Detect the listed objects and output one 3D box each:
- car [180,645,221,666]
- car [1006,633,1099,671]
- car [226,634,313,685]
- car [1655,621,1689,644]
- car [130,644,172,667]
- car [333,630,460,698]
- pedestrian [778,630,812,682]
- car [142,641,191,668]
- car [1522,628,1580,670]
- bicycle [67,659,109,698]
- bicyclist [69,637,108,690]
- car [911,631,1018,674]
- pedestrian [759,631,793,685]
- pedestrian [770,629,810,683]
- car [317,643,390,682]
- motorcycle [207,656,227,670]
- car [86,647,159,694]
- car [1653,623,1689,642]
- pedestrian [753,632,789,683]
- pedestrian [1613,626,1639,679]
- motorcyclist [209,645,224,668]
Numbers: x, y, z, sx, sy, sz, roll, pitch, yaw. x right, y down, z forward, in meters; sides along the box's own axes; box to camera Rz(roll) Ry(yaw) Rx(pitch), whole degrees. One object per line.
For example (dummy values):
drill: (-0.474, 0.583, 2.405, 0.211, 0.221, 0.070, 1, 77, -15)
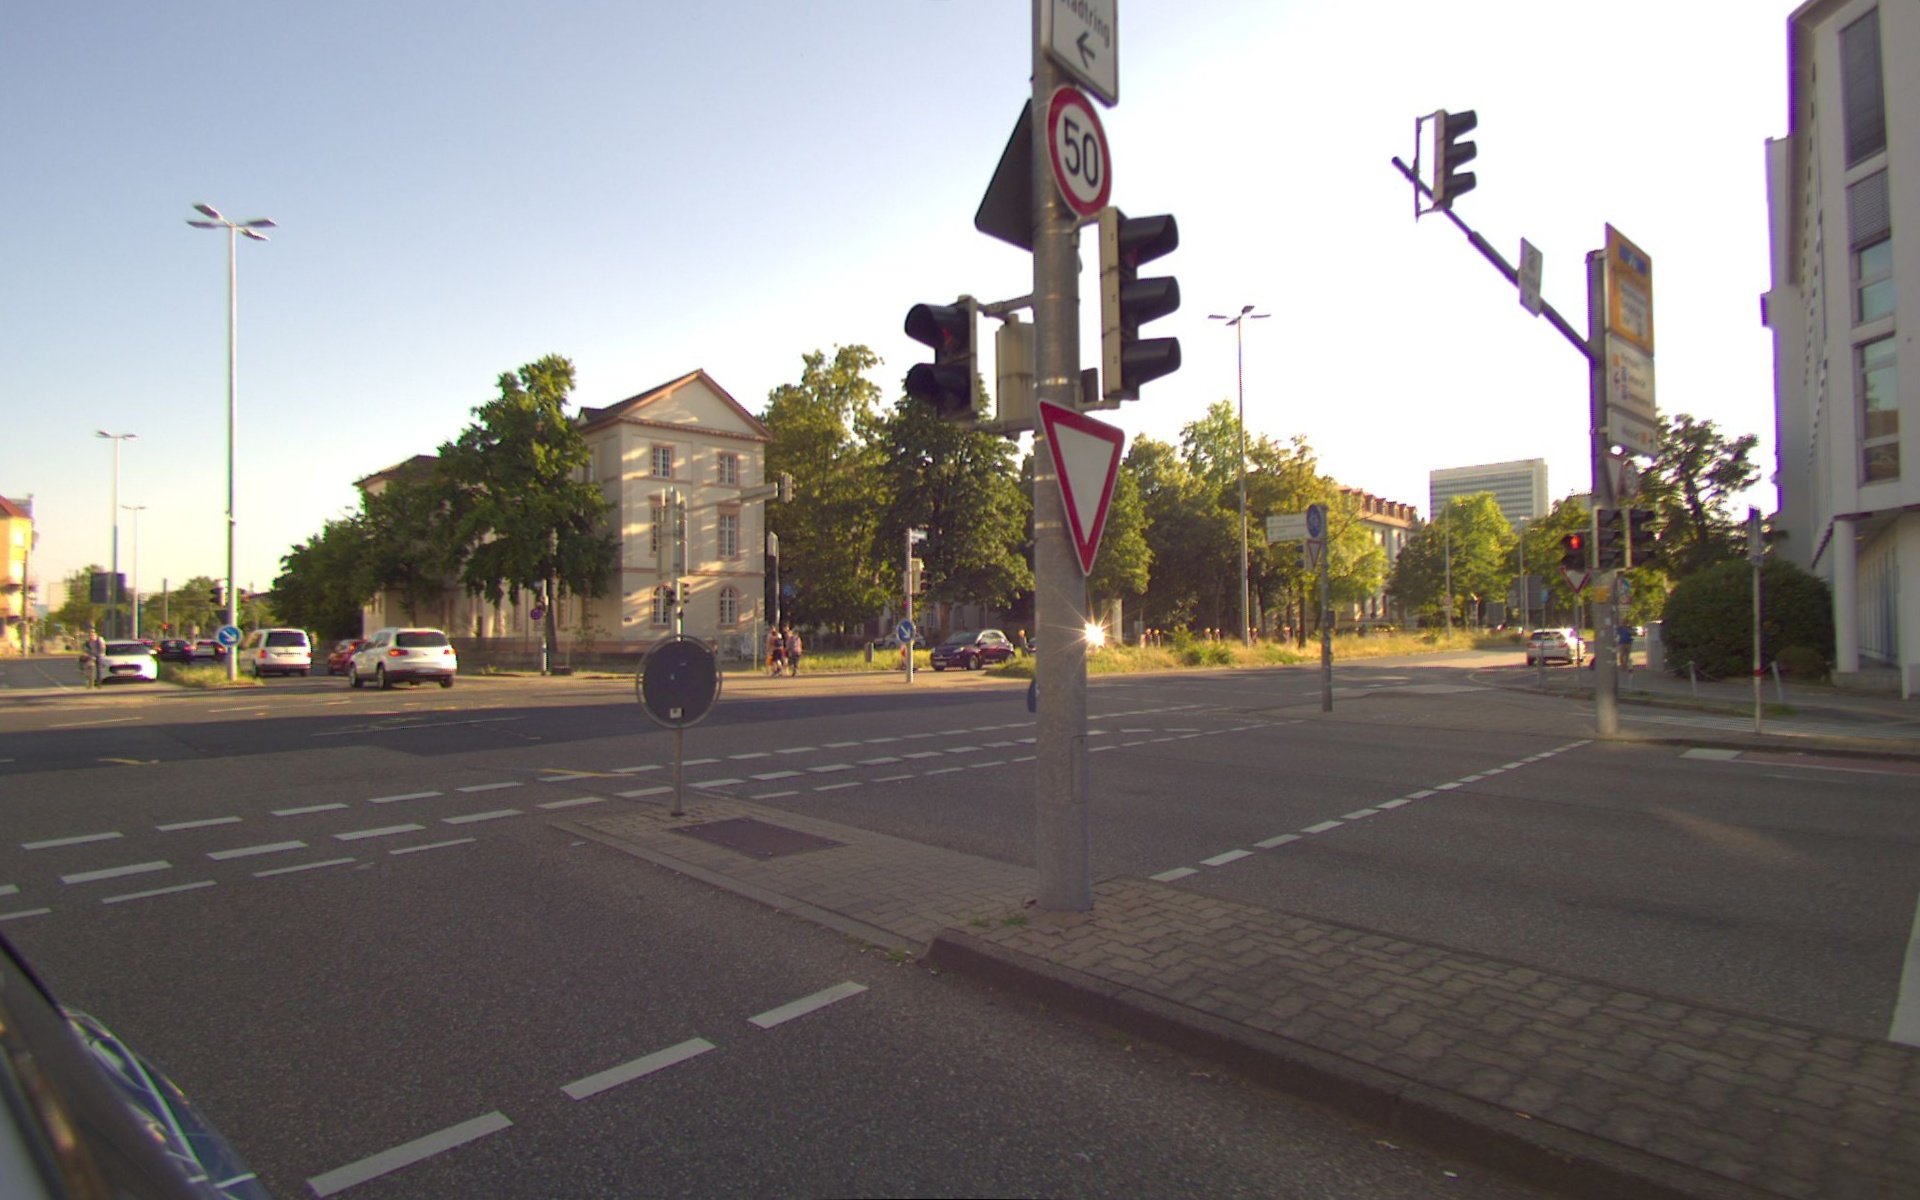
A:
car: (-55.162, 4.013, 73.477, 4.294, 1.474, 1.740, -3, -3, 45)
car: (3.778, 2.084, 41.189, 2.000, 1.457, 3.596, -3, -3, 42)
car: (-26.844, 2.278, 39.285, 4.947, 1.861, 1.807, -3, -3, 44)
car: (62.878, 2.857, 89.358, 1.999, 2.029, 3.946, -3, -3, 41)
car: (-55.628, 3.783, 69.560, 4.294, 1.474, 1.740, -3, -3, 45)
car: (-15.656, 1.730, 28.025, 4.441, 1.719, 1.808, -3, -3, 43)
pedestrian: (-5.339, 1.806, 32.804, 0.882, 1.663, 0.670, -2, -3, 38)
car: (-46.319, 3.182, 59.076, 4.294, 1.474, 1.740, -3, -3, 45)
car: (25.915, 2.129, 44.330, 1.994, 1.741, 3.955, -2, -2, 33)
bicycle: (-26.907, 2.405, 31.219, 2.081, 1.116, 0.822, -3, -3, 45)
bicyclist: (-26.951, 1.948, 31.304, 1.024, 1.616, 0.827, -3, -3, 45)
car: (0.189, 1.869, 36.592, 2.000, 1.457, 3.596, -3, -3, 42)
pedestrian: (-5.826, 1.830, 31.979, 0.888, 1.663, 0.613, -2, -3, 38)
pedestrian: (-6.043, 1.979, 35.937, 1.168, 1.863, 0.810, -2, -3, 38)
car: (-24.805, 2.526, 41.343, 1.687, 1.489, 3.814, 1, -3, -45)
motorcycle: (-47.559, 4.039, 64.738, 2.161, 0.886, 0.631, -3, -3, 43)
car: (-29.343, 2.423, 35.417, 1.739, 1.510, 3.711, 1, -3, -43)
car: (57.964, 2.615, 82.451, 1.999, 1.497, 3.946, -3, -3, 41)
pedestrian: (-6.595, 1.992, 35.312, 1.083, 1.721, 0.670, -2, -3, 38)
pedestrian: (23.252, 1.825, 35.317, 0.697, 1.804, 0.476, -2, -3, 36)
motorcyclist: (-47.674, 3.611, 64.869, 0.756, 1.417, 0.612, -3, -3, 43)
